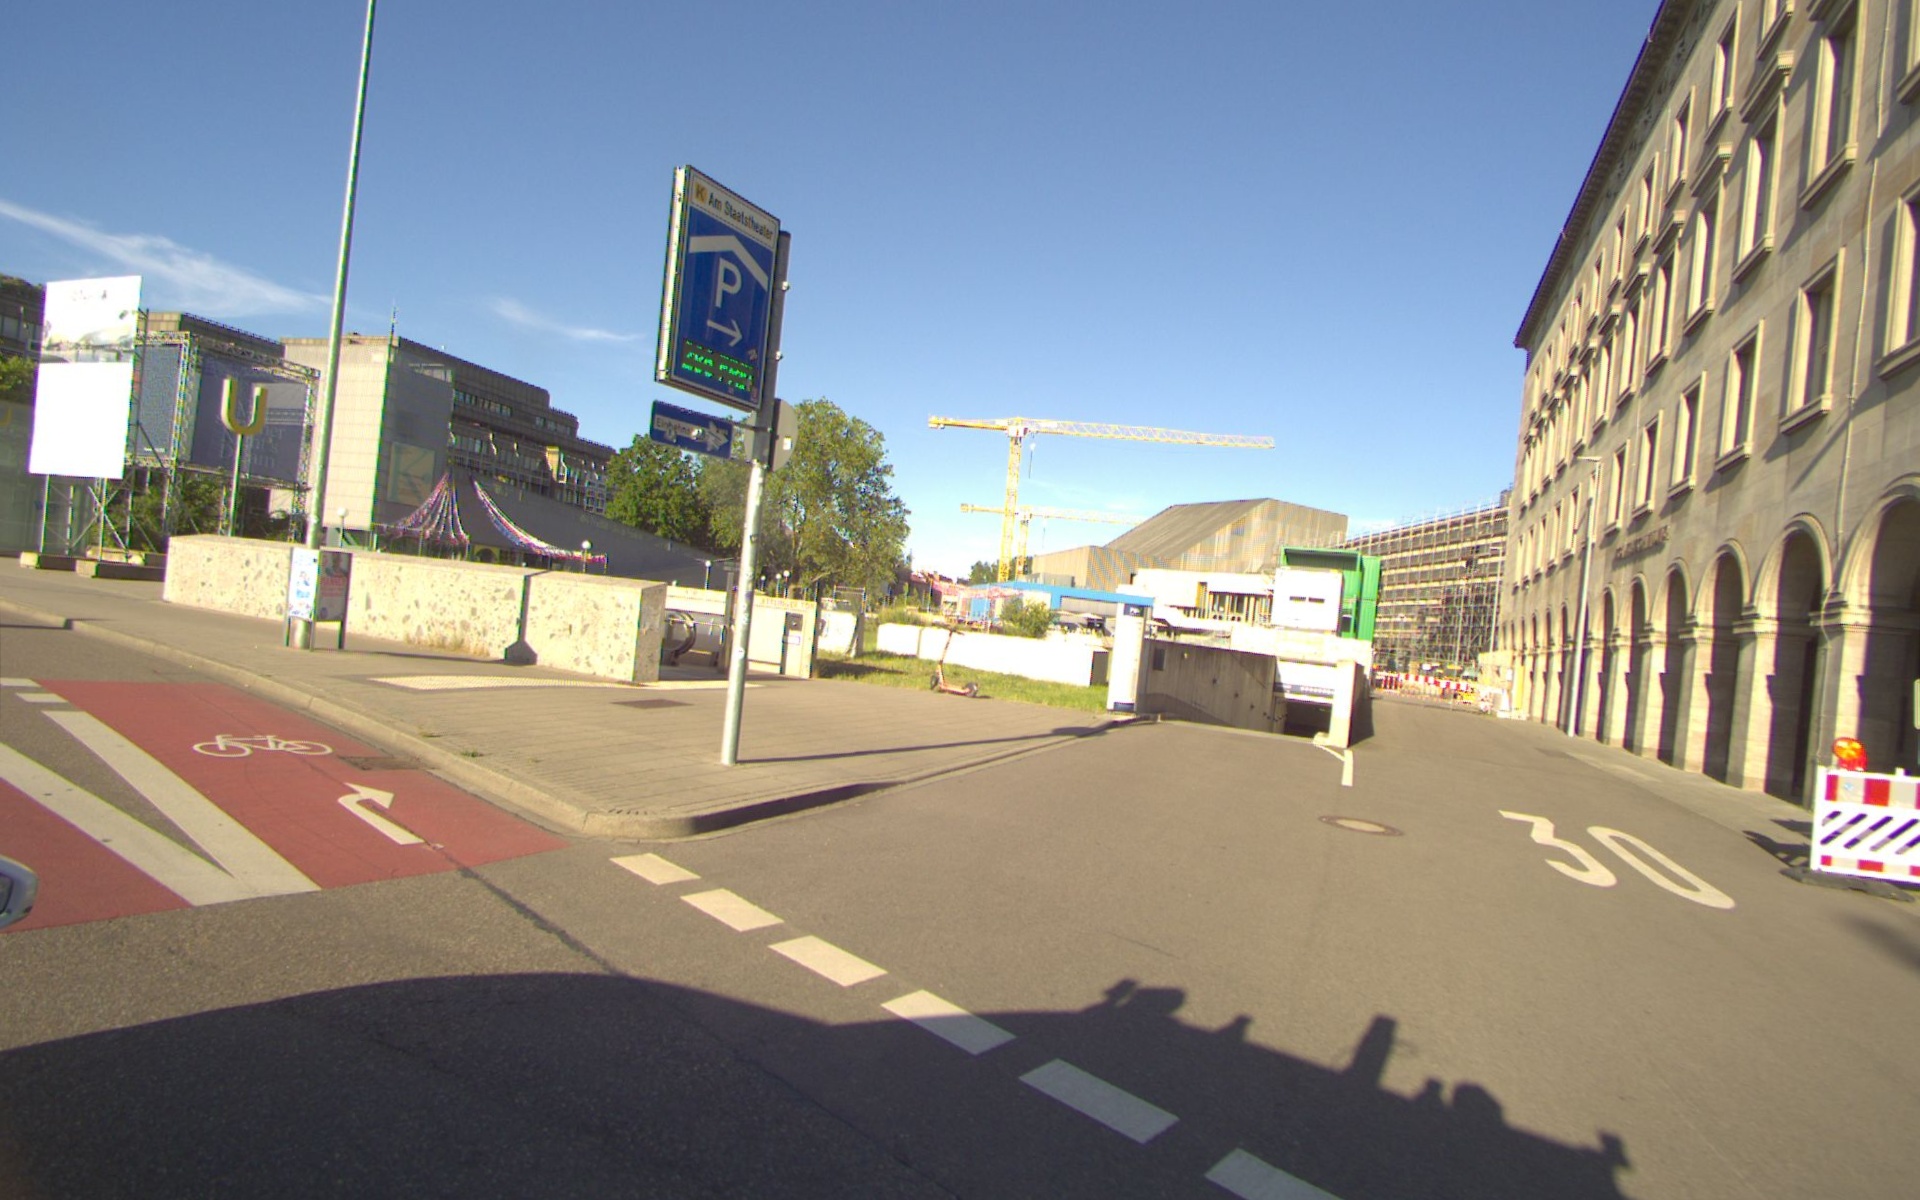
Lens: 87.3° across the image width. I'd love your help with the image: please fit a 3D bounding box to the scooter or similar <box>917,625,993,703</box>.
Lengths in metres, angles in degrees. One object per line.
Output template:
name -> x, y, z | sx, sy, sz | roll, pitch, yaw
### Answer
scooter or similar -> -0.101, 1.142, 18.143 | 1.349, 1.261, 0.360 | 6, 1, 39
